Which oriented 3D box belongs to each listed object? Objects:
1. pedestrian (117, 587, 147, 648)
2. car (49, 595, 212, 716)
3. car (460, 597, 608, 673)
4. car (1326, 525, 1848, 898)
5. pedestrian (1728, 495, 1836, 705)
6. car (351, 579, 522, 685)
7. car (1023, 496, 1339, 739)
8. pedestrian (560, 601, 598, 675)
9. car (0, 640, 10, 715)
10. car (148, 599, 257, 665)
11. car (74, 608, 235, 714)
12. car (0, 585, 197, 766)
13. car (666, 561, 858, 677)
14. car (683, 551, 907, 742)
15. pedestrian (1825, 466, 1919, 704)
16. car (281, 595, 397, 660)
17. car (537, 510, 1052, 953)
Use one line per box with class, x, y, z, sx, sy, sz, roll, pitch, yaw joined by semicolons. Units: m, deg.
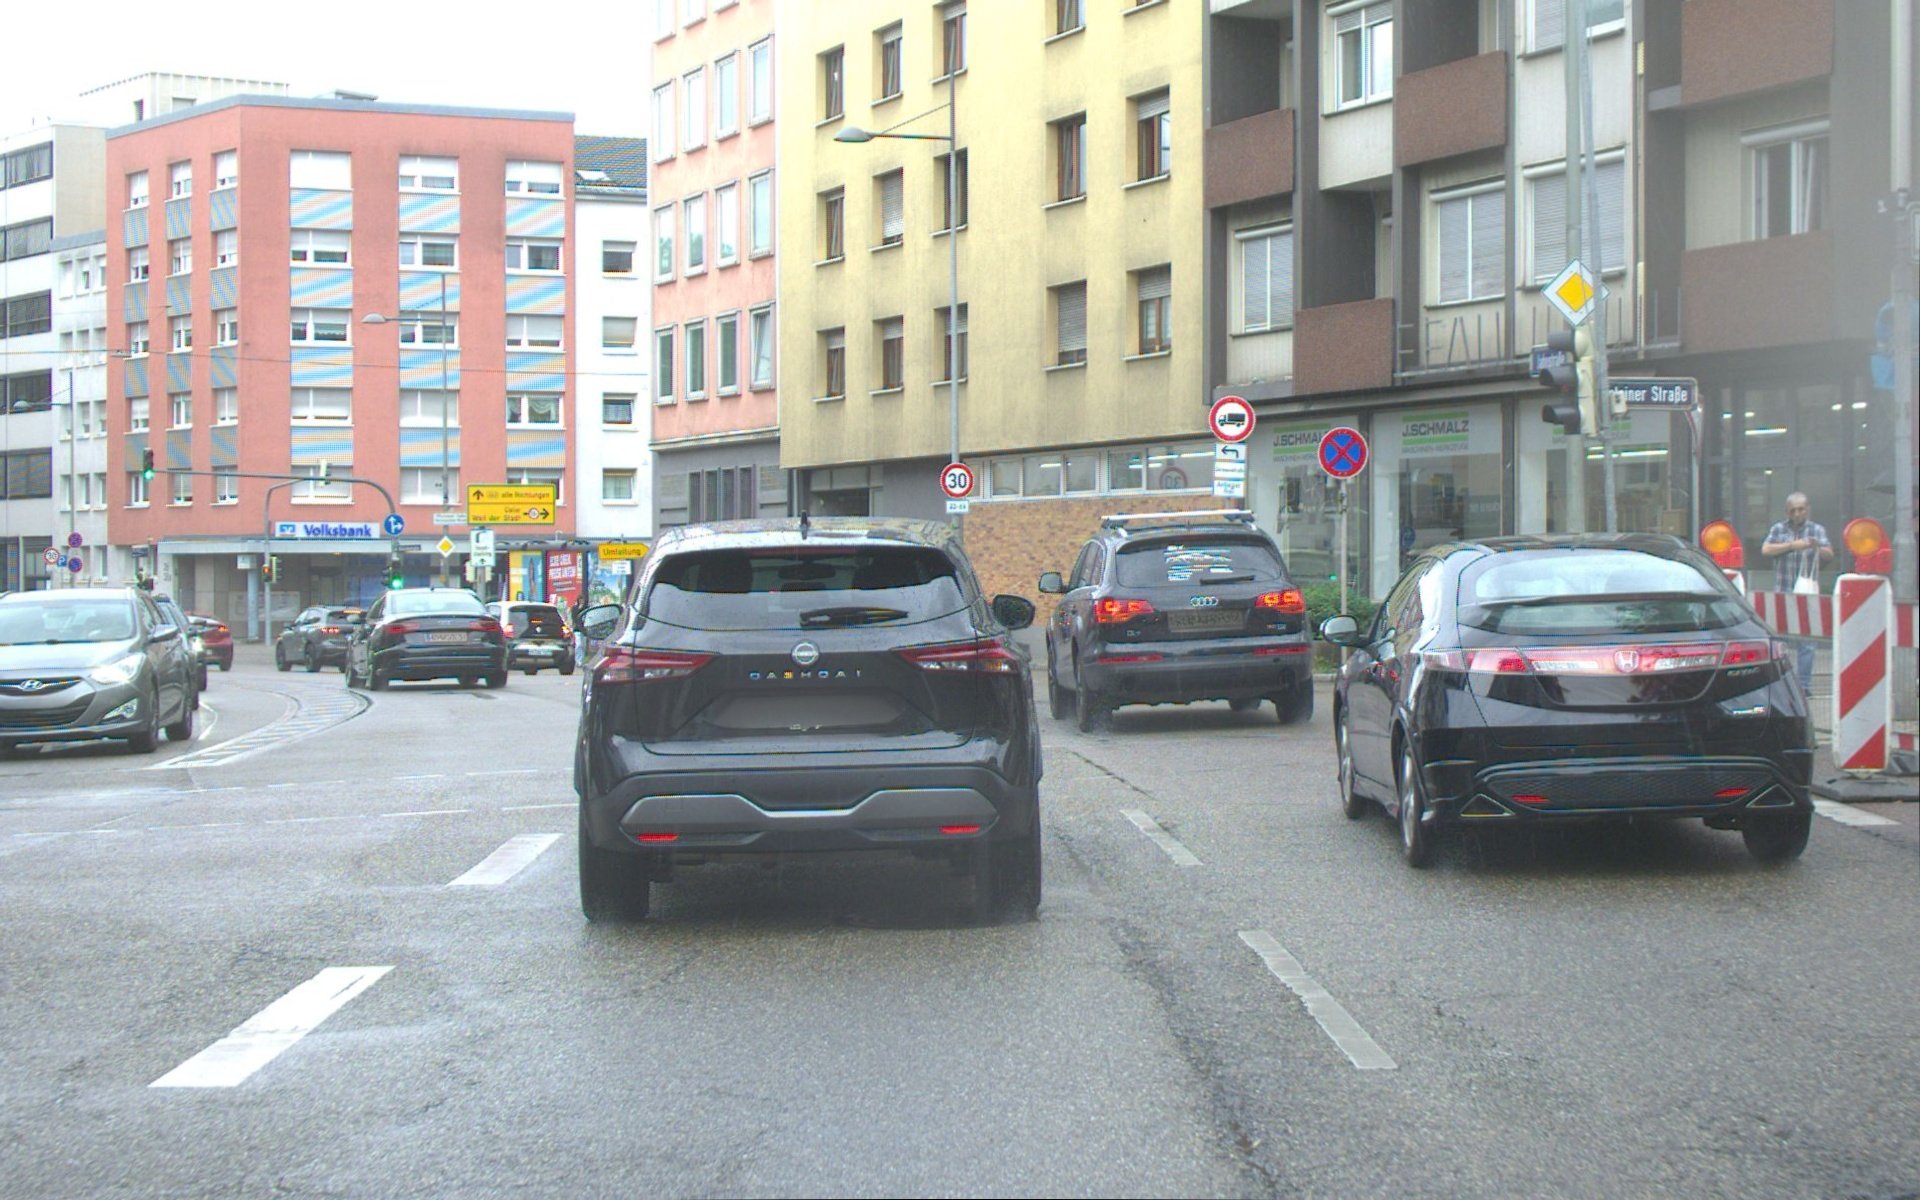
pedestrian;-29.716;0.634;123.367;0.825;2.151;0.770;2;-1;-25
car;-10.301;0.673;42.721;1.824;1.361;4.605;-2;0;-14
car;-8.910;0.704;71.636;1.993;1.481;4.001;2;-1;-23
car;2.813;0.420;16.271;1.784;1.491;4.057;-1;2;1
pedestrian;6.792;0.007;28.428;0.792;1.682;0.821;-2;-1;13
car;-7.457;0.434;48.662;1.993;1.383;4.501;2;0;-13
car;1.812;0.133;29.869;2.021;1.863;4.900;-2;0;-4
pedestrian;-9.326;0.927;84.106;0.672;1.781;1.095;0;0;-21
car;-20.432;1.588;69.636;1.683;1.468;4.001;-3;1;-24
car;-18.622;0.769;84.403;1.993;1.525;4.001;2;-1;-21
car;-12.359;0.899;52.580;1.983;1.454;4.487;-2;0;-18
car;-7.989;0.623;30.724;1.852;1.469;4.649;-1;0;-7
car;-3.353;0.312;57.548;1.945;1.810;4.001;-2;0;-23
car;-1.675;0.416;33.610;1.945;1.679;4.001;-2;0;-5
pedestrian;7.686;-0.119;27.618;0.917;1.855;1.031;-1;-2;-44
car;-15.407;0.674;85.199;1.993;1.514;4.001;2;-1;-22
car;-0.704;0.461;14.817;1.894;1.623;4.000;-1;1;-3
